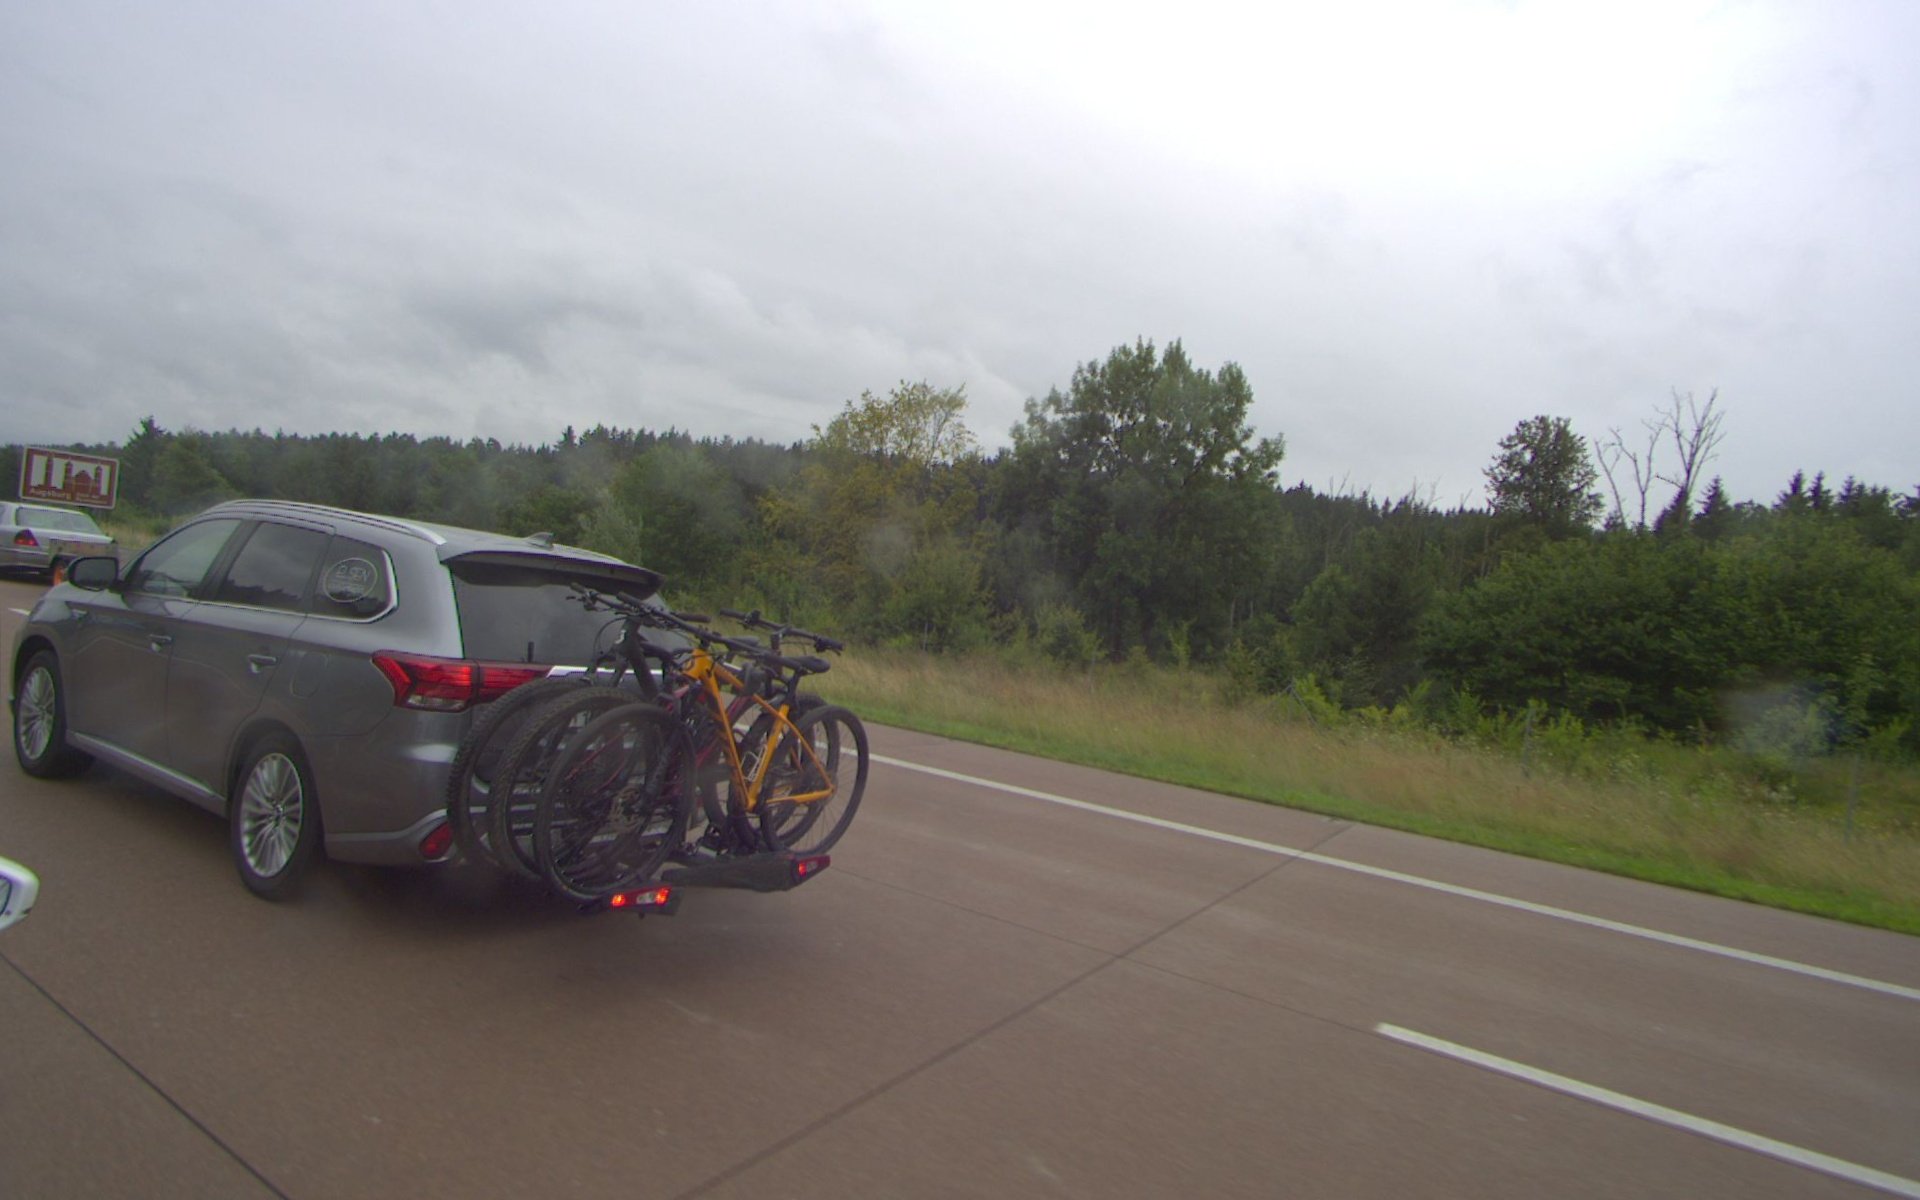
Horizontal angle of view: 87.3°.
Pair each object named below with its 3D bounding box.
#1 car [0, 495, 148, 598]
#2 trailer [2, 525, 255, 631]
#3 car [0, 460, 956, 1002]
[{"bbox_3d":[-18.115,-1.124,19.833,4.895,1.631,1.700,6,-1,32],"label":"car"},{"bbox_3d":[-14.272,-0.399,17.207,4.563,1.180,1.975,7,-2,33],"label":"trailer"},{"bbox_3d":[-3.031,0.277,5.395,5.725,1.611,1.997,5,-2,32],"label":"car"}]
